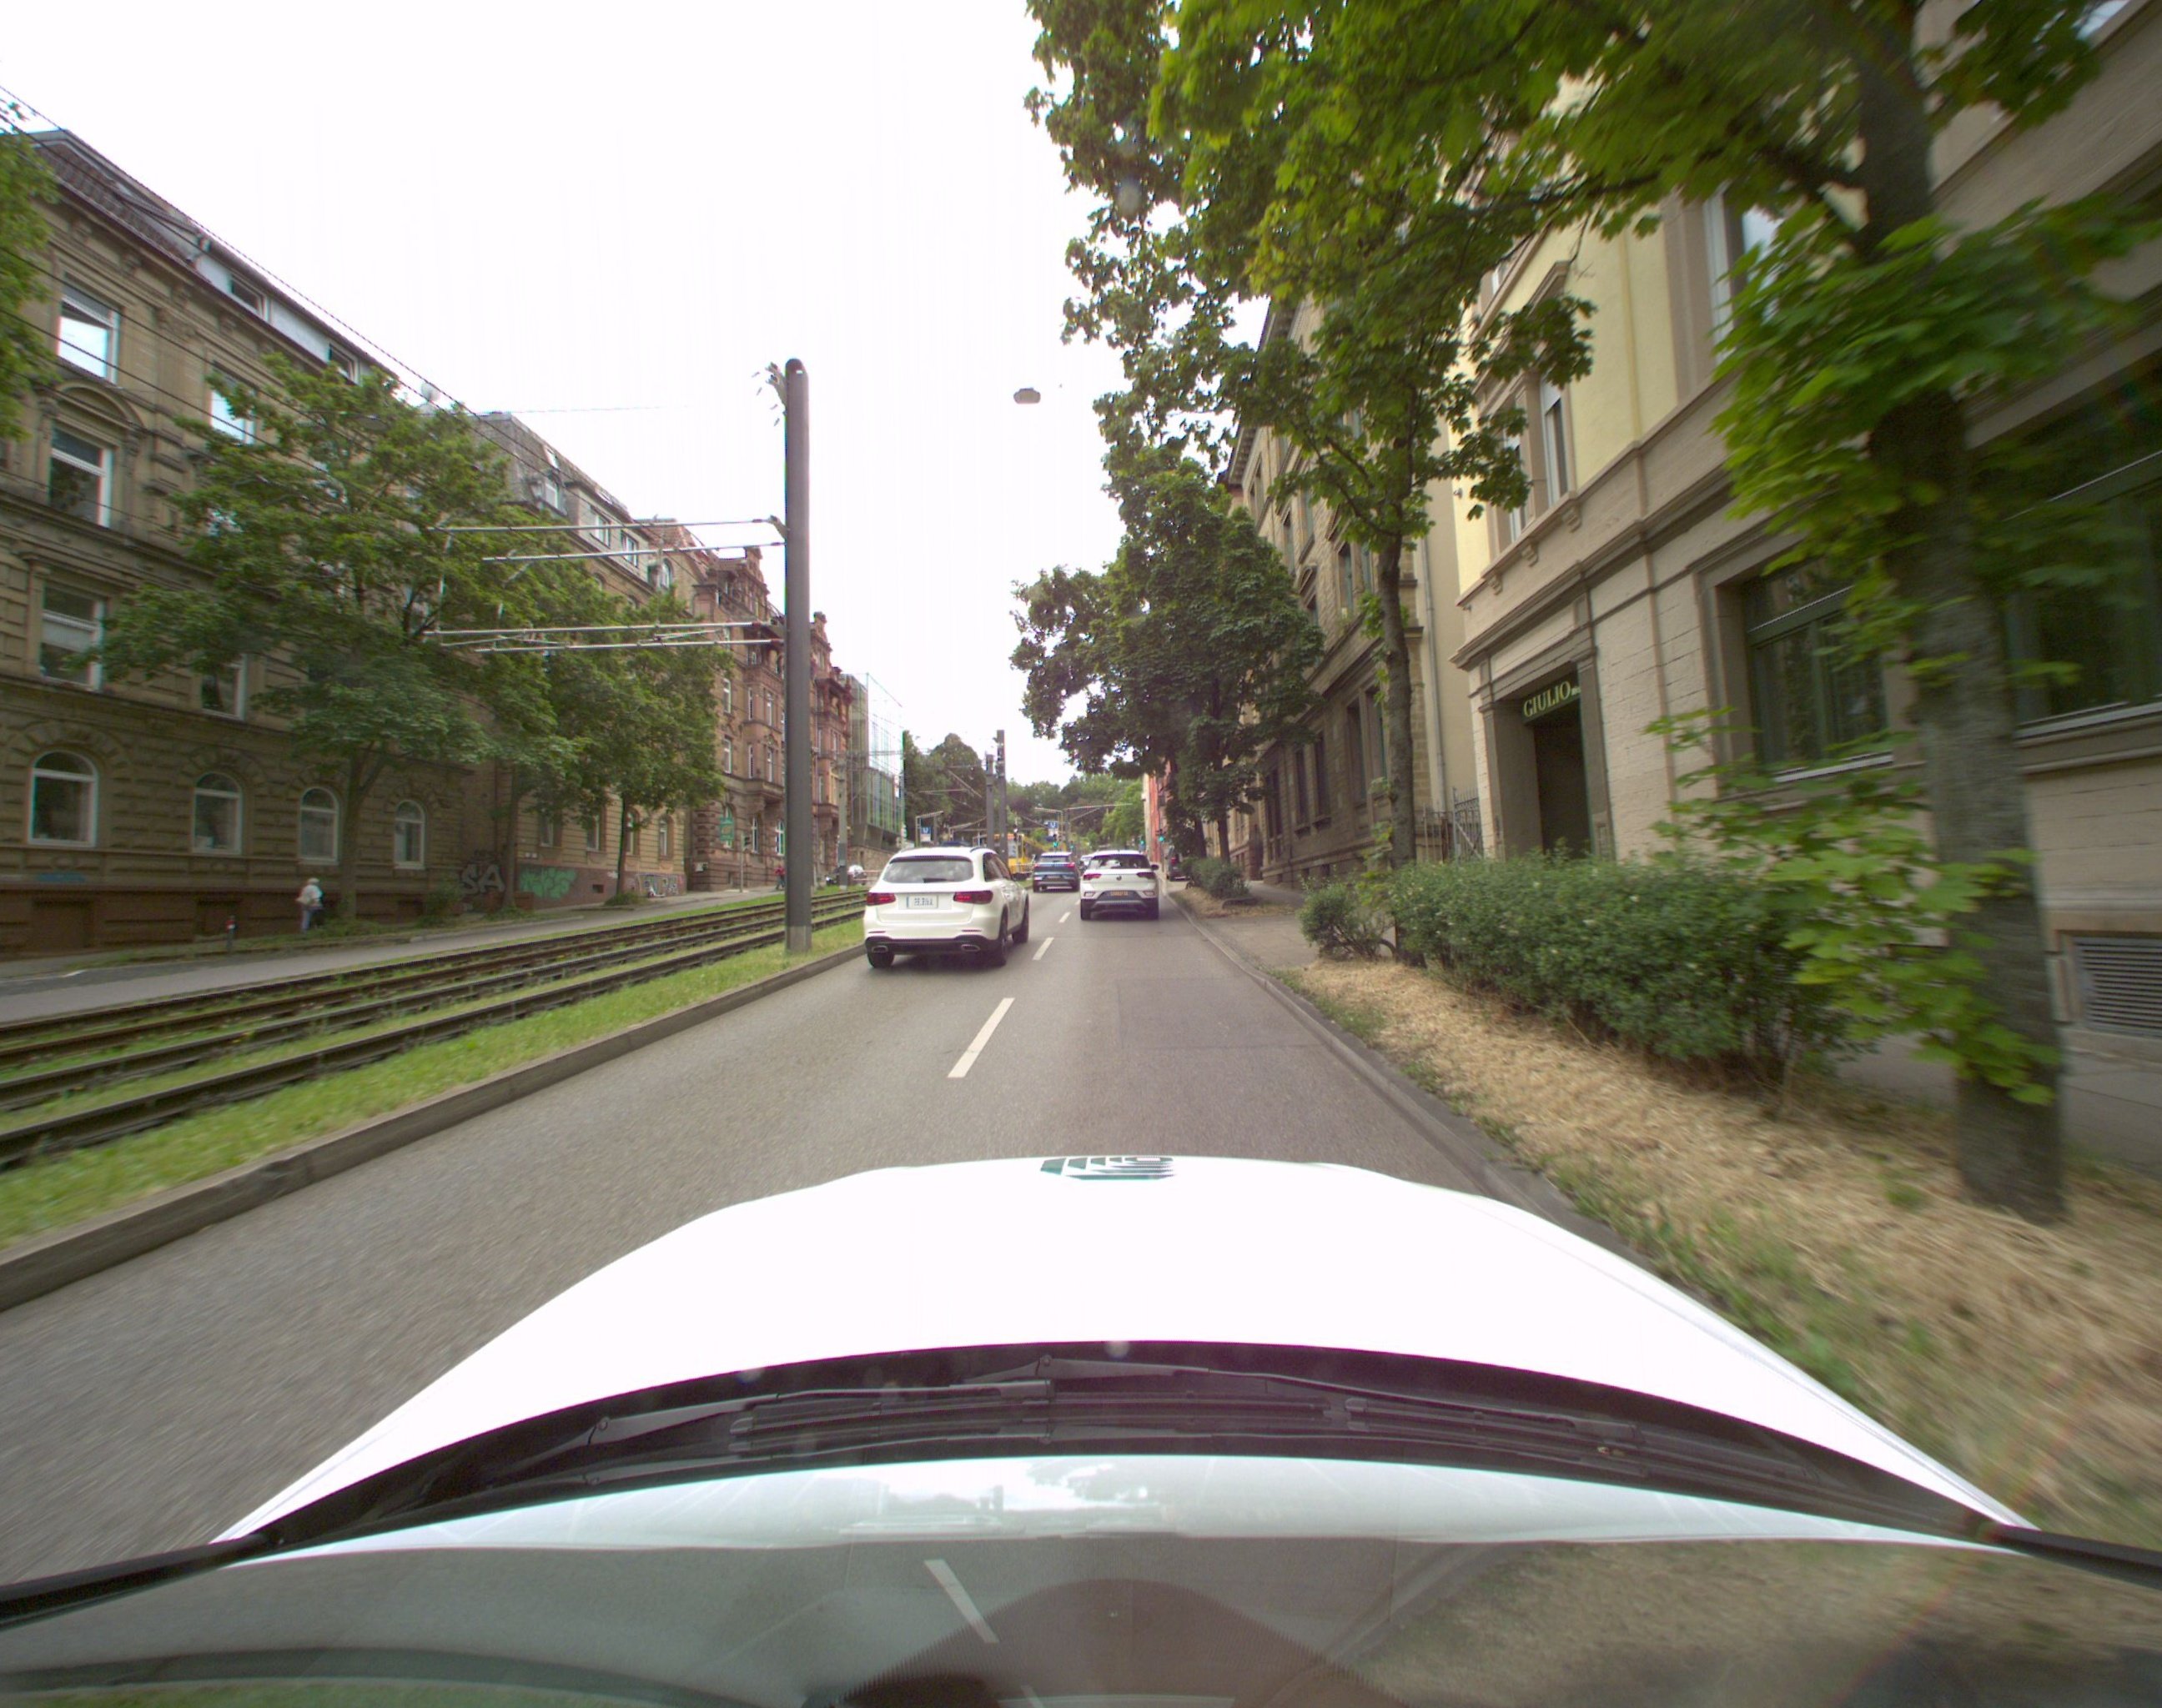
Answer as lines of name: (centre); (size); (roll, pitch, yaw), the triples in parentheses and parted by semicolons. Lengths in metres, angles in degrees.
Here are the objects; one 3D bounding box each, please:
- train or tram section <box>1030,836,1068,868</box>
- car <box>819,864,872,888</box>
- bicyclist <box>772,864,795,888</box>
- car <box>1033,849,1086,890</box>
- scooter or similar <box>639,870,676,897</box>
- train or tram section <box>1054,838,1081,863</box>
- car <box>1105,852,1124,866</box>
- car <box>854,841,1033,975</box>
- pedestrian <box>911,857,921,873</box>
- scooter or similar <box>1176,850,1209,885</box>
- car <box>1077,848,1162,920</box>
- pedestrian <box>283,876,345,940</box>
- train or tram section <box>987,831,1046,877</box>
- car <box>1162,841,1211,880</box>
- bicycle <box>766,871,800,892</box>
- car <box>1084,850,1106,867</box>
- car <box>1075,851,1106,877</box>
train or tram section: (-3.590, -0.272, 94.446); (2.983, 3.349, 13.450); (-2, 0, 3)
car: (-15.238, 1.387, 52.898); (1.985, 1.403, 4.003); (-2, 0, 3)
bicyclist: (-18.399, 1.364, 50.411); (0.934, 1.425, 1.188); (-2, 0, 2)
car: (-0.821, 0.601, 33.271); (1.828, 1.546, 4.196); (-1, 0, 2)
scooter or similar: (-20.958, 1.440, 40.324); (0.627, 1.255, 2.215); (-2, 0, 0)
train or tram section: (-1.860, -0.524, 121.389); (2.983, 3.349, 13.450); (-2, 0, 3)
car: (3.822, 0.537, 93.103); (2.060, 1.546, 4.196); (-1, 0, 2)
car: (-1.874, 0.680, 12.622); (1.829, 1.667, 4.672); (-1, 0, 2)
pedestrian: (-18.554, 1.240, 91.643); (0.805, 1.755, 0.817); (-2, 0, 3)
scooter or similar: (3.729, 0.456, 27.243); (1.031, 1.119, 0.332); (-3, 0, 8)
car: (0.876, 0.642, 19.710); (1.829, 1.546, 4.194); (-1, 0, 1)
pedestrian: (-21.206, 1.473, 22.532); (0.828, 1.684, 0.848); (-3, 0, 0)
train or tram section: (-5.076, -0.030, 67.415); (2.983, 3.349, 13.450); (-2, 0, 3)
car: (4.853, 0.273, 37.850); (1.828, 1.601, 4.196); (-4, 0, 2)
bicycle: (-18.394, 1.685, 50.368); (0.934, 1.100, 2.704); (-2, 0, 2)
car: (1.303, 0.415, 74.921); (1.828, 1.546, 4.196); (-1, 0, 2)
car: (0.634, 0.617, 51.838); (1.828, 1.546, 4.196); (-1, 0, 2)
